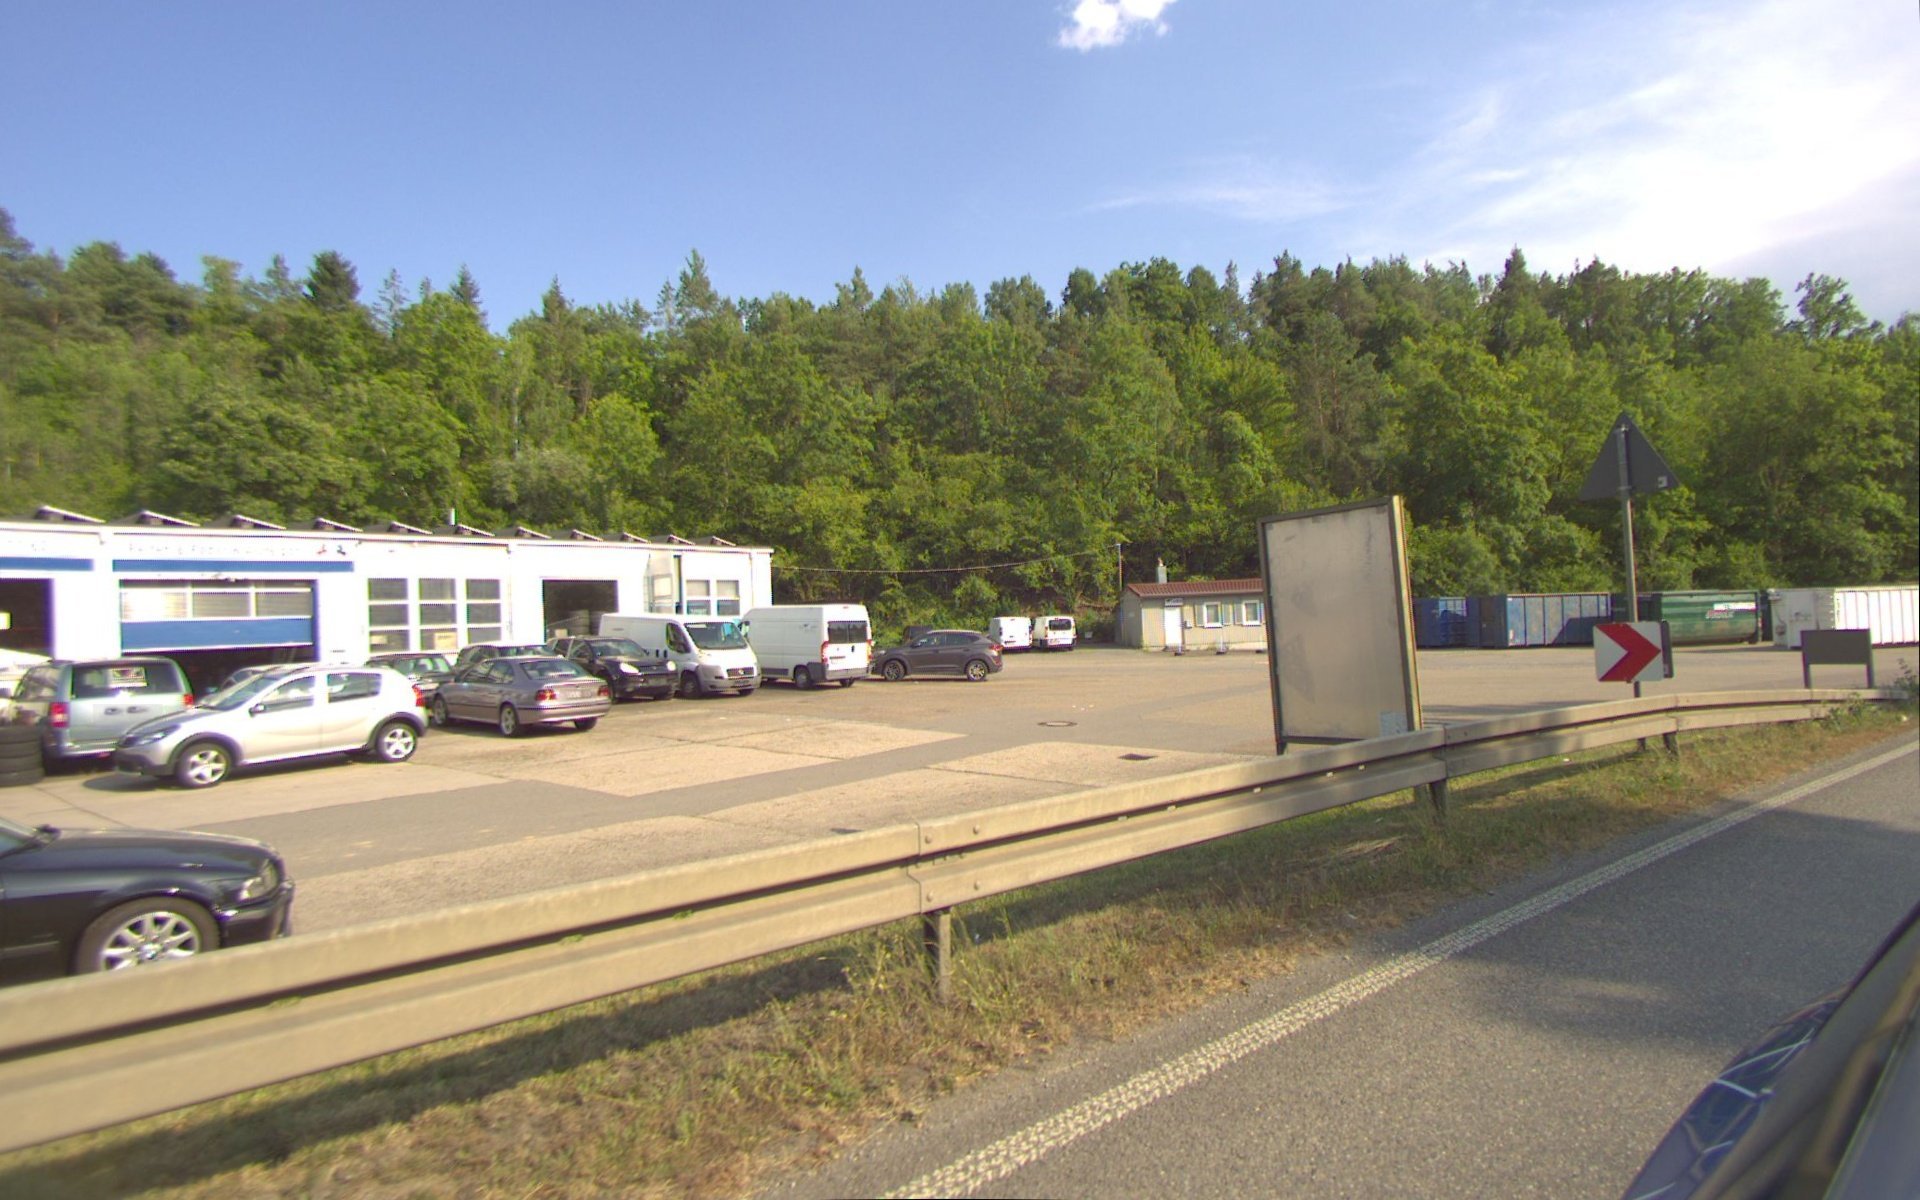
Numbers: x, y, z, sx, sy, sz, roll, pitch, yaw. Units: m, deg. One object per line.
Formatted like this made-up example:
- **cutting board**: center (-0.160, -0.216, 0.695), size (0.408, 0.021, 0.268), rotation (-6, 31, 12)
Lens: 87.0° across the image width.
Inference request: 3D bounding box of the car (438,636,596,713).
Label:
- **car**: center (-10.772, 1.729, 24.475), size (4.234, 1.631, 1.867), rotation (-2, -1, 40)

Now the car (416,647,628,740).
- **car**: center (-8.845, 1.768, 20.267), size (4.710, 1.452, 1.930), rotation (0, 0, 39)

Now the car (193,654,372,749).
- **car**: center (-13.645, 1.945, 20.303), size (4.137, 1.480, 1.844), rotation (0, 0, 39)

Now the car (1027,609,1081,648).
- **car**: center (5.229, 1.605, 56.654), size (1.959, 2.039, 4.564), rotation (-2, -1, -8)

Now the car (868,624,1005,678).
- **car**: center (-0.757, 1.619, 32.792), size (4.321, 1.691, 1.942), rotation (0, -1, 0)

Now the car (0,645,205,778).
- **car**: center (-14.436, 1.730, 16.920), size (4.238, 1.751, 1.866), rotation (0, 0, 38)

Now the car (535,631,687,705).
- **car**: center (-9.057, 1.671, 26.114), size (4.153, 1.631, 1.897), rotation (0, 0, 40)

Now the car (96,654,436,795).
- **car**: center (-10.402, 1.747, 15.438), size (1.785, 1.616, 3.938), rotation (0, 0, 36)

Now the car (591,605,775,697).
- **car**: center (-7.789, 1.319, 28.109), size (5.466, 2.303, 2.262), rotation (-1, -1, 40)

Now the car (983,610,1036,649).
- **car**: center (2.716, 1.640, 56.315), size (1.959, 2.040, 4.104), rotation (-1, -1, -11)

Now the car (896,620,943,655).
- **car**: center (-2.275, 1.994, 55.355), size (1.955, 1.695, 4.564), rotation (-1, 0, -9)

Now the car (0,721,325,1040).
- **car**: center (-5.955, 1.557, 5.356), size (4.197, 1.370, 1.827), rotation (0, -2, -41)

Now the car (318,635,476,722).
- **car**: center (-12.810, 1.694, 22.950), size (3.982, 1.631, 1.867), rotation (0, 0, 40)

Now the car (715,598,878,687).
- **car**: center (-5.016, 1.224, 30.683), size (4.897, 2.480, 2.177), rotation (-1, -1, 39)
